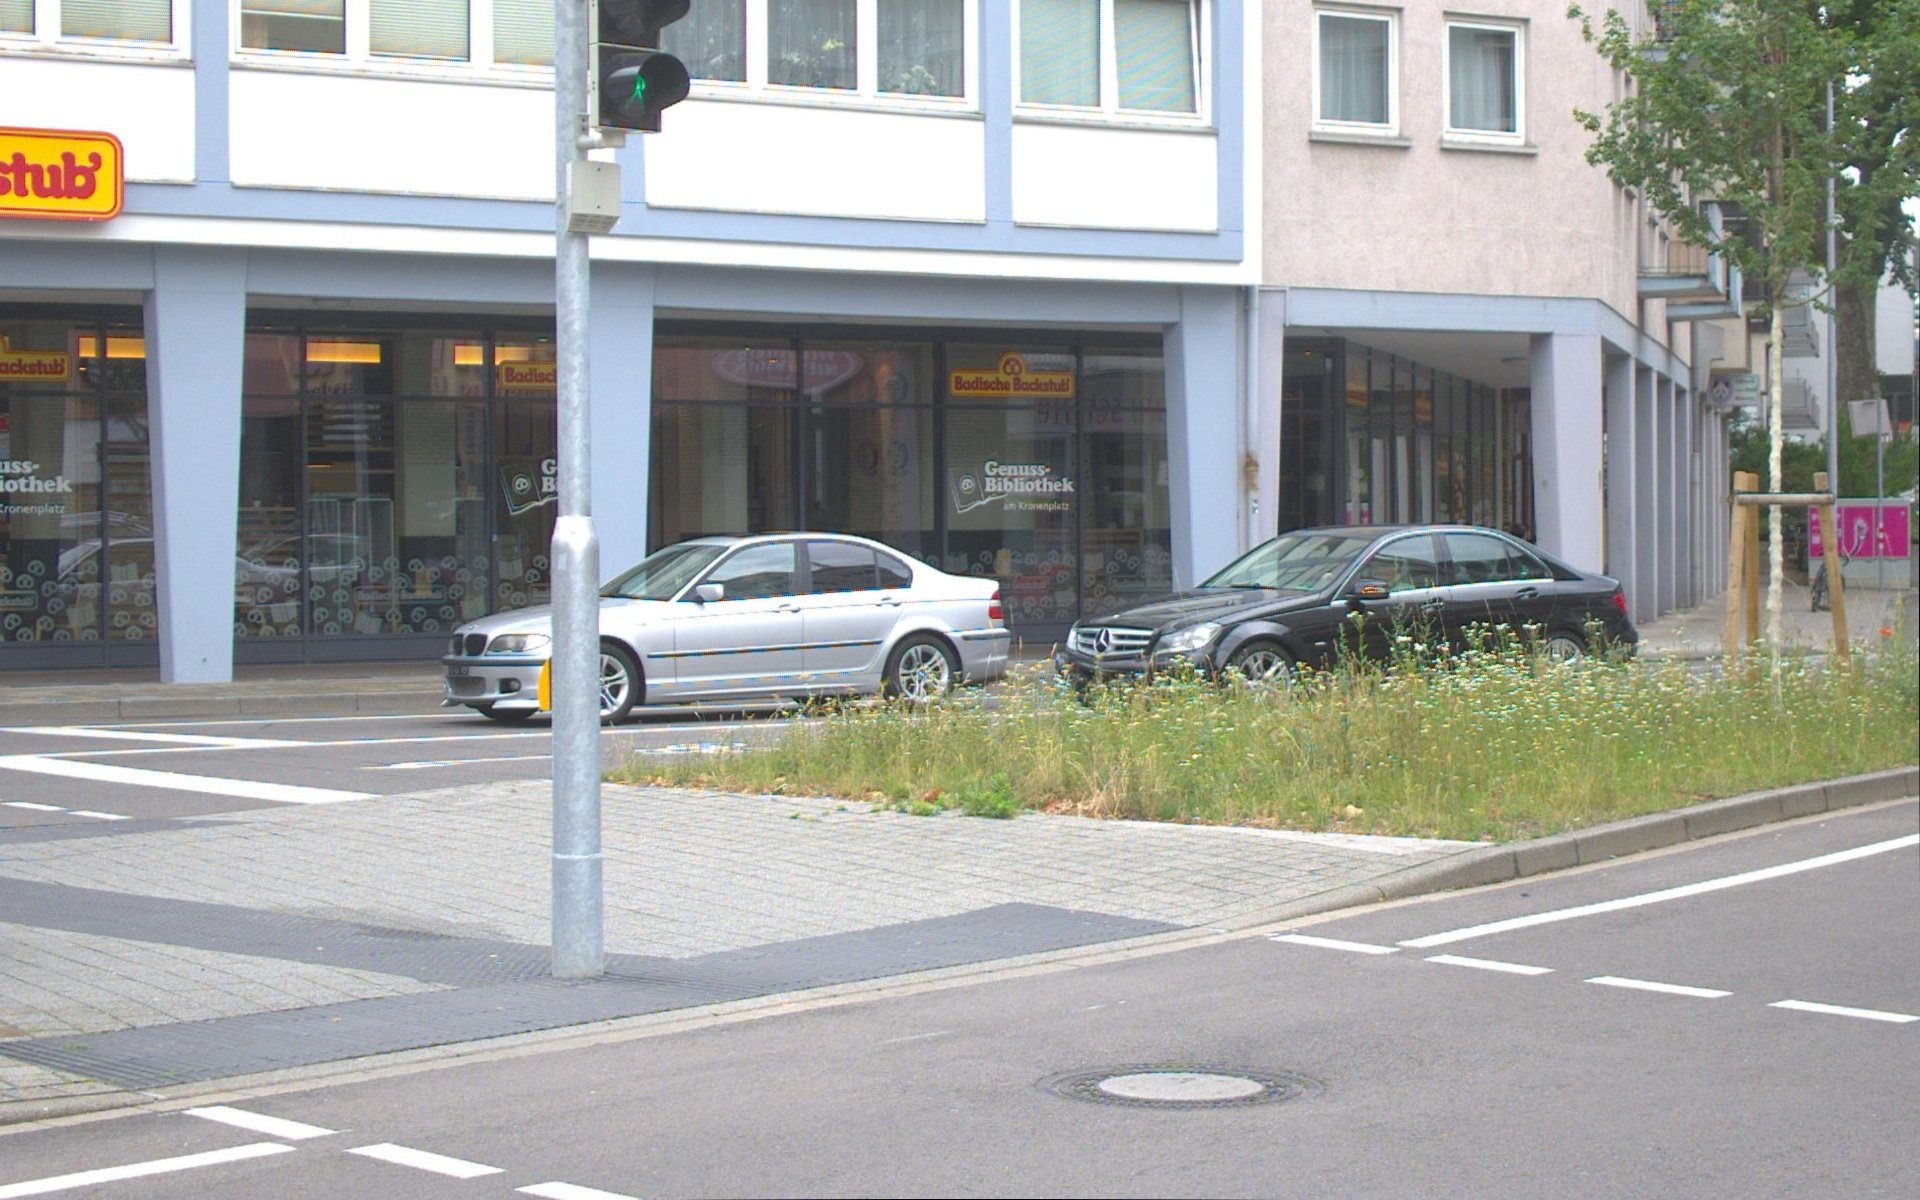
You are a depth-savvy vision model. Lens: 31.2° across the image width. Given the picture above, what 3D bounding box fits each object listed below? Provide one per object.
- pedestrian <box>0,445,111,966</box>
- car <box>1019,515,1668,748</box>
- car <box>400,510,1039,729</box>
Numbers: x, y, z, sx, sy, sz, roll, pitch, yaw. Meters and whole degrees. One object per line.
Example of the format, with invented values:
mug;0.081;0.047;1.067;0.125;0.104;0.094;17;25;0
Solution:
pedestrian;-3.404;0.349;11.914;0.621;1.755;0.779;0;1;-38
car;2.819;0.172;24.837;4.552;1.476;1.748;-2;1;-32
car;-1.787;0.098;26.196;4.552;1.476;1.748;-2;1;-32
